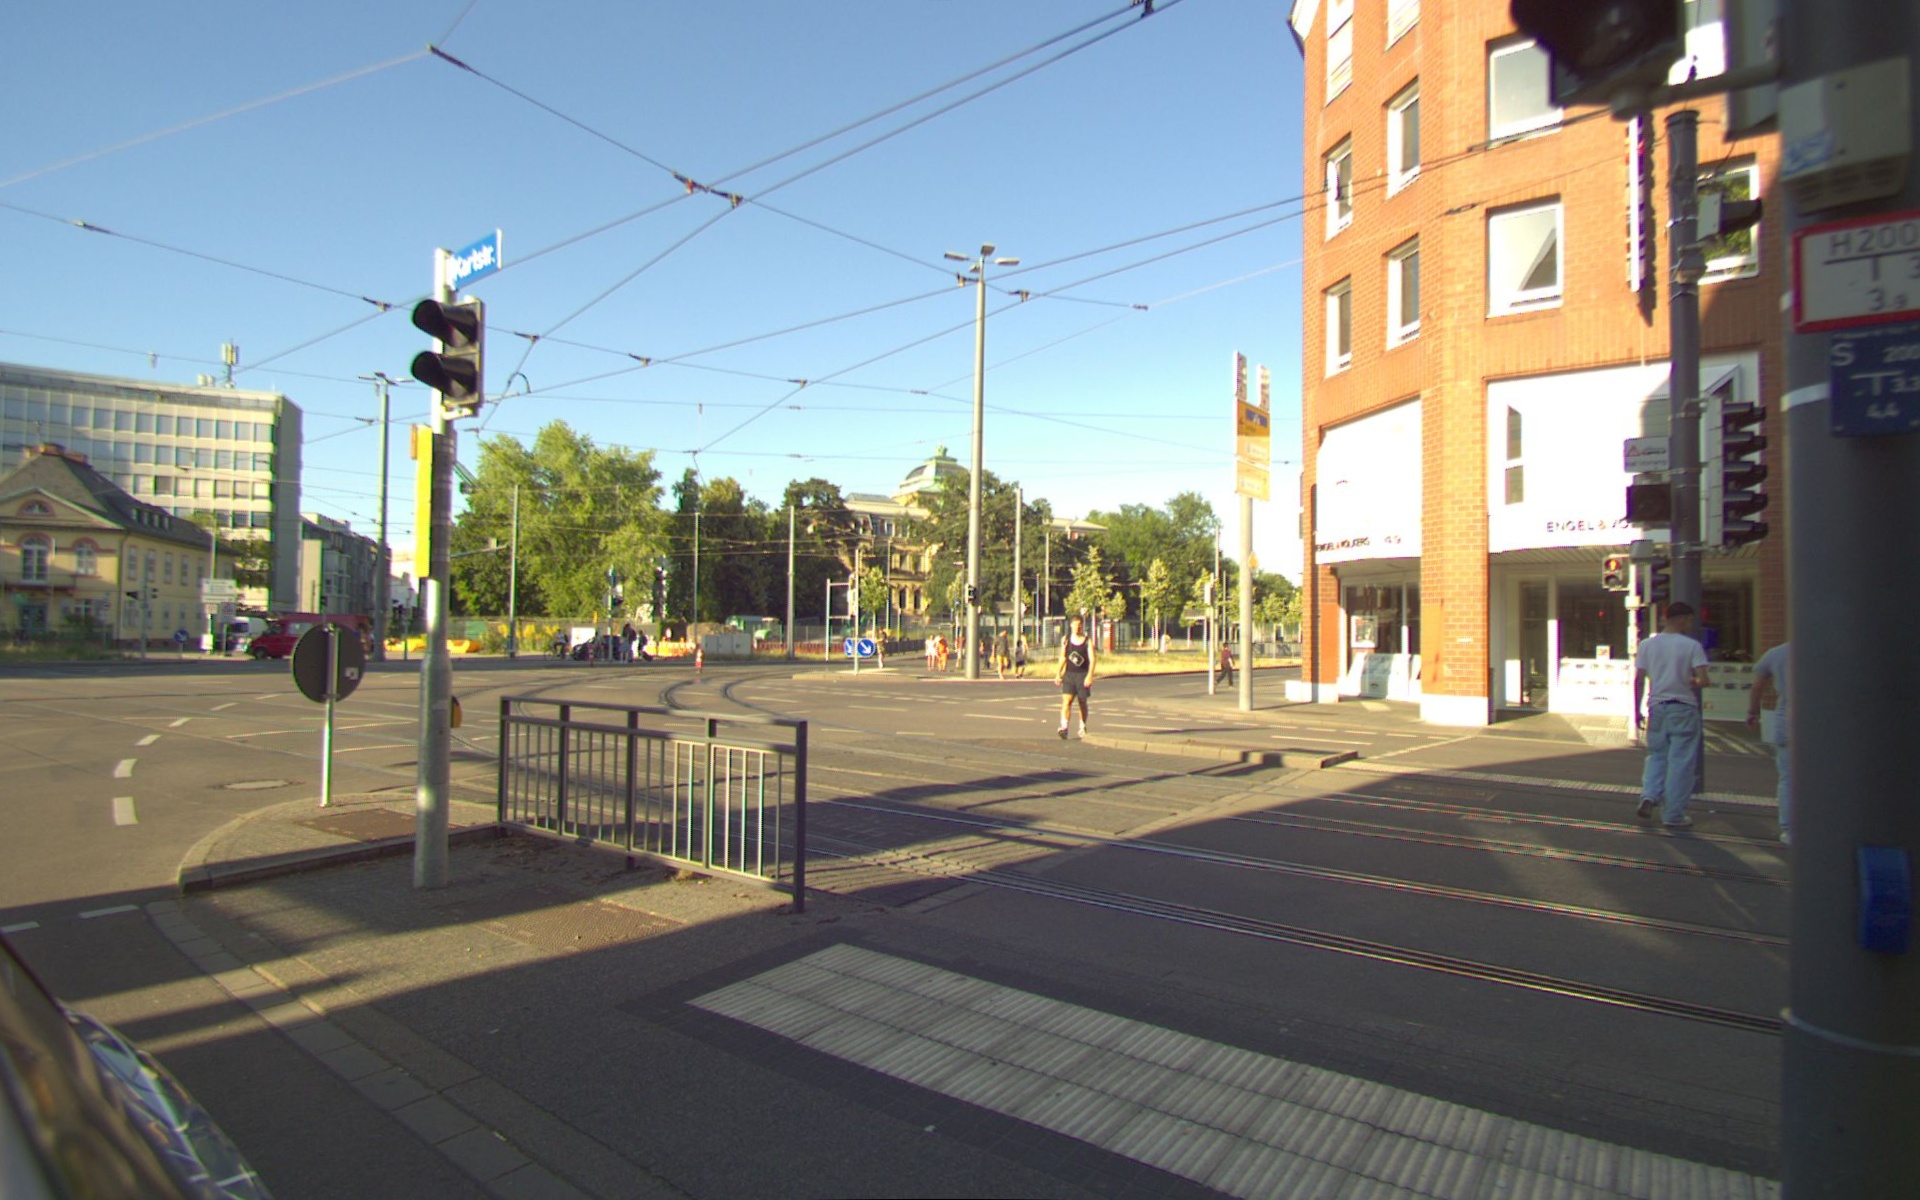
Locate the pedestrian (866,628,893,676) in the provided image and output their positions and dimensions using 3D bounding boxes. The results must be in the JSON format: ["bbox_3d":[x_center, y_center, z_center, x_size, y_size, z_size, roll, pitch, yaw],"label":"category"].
[{"bbox_3d":[-3.480,2.227,43.778,0.855,2.029,0.805,-1,0,22],"label":"pedestrian"}]

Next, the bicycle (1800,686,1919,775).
[{"bbox_3d":[13.105,1.816,14.129,2.049,1.129,0.568,-1,0,33],"label":"bicycle"}]

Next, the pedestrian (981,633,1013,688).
[{"bbox_3d":[1.269,2.052,34.578,0.846,1.780,0.814,-1,0,-17],"label":"pedestrian"}]

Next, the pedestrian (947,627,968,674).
[{"bbox_3d":[-0.114,2.255,45.286,0.848,2.029,0.812,-1,0,-4],"label":"pedestrian"}]

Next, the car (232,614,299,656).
[{"bbox_3d":[-55.506,2.797,81.050,2.500,3.071,6.393,3,-3,-17],"label":"car"}]

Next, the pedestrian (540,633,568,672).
[{"bbox_3d":[-22.180,2.847,55.316,0.988,2.029,1.060,-1,0,40],"label":"pedestrian"}]

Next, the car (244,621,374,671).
[{"bbox_3d":[-34.695,2.426,54.125,5.332,2.474,2.550,0,-2,-12],"label":"car"}]

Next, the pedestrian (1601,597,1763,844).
[{"bbox_3d":[5.642,0.874,7.914,0.799,1.780,0.862,-1,0,-42],"label":"pedestrian"}]

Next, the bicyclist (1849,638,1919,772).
[{"bbox_3d":[13.071,1.441,14.163,0.809,1.780,0.730,-1,0,33],"label":"bicyclist"}]

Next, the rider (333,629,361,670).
[{"bbox_3d":[-30.870,2.471,50.966,0.996,2.029,1.023,-1,0,-20],"label":"rider"}]

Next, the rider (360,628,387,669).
[{"bbox_3d":[-29.766,2.456,51.349,0.996,2.029,0.992,-1,0,-20],"label":"rider"}]

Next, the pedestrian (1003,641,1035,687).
[{"bbox_3d":[2.041,2.218,35.036,0.846,1.522,0.814,-1,0,-17],"label":"pedestrian"}]

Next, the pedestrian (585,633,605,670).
[{"bbox_3d":[-20.602,2.893,57.094,0.996,2.029,0.992,-1,0,-20],"label":"pedestrian"}]

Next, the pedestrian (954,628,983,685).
[{"bbox_3d":[0.306,2.047,37.042,0.846,2.029,0.814,-1,0,-17],"label":"pedestrian"}]

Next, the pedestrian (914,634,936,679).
[{"bbox_3d":[-1.417,2.288,41.002,0.848,1.784,0.709,-1,0,-4],"label":"pedestrian"}]

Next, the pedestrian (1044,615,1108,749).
[{"bbox_3d":[1.634,1.124,14.247,0.850,1.817,0.809,-1,0,7],"label":"pedestrian"}]

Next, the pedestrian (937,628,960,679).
[{"bbox_3d":[-0.471,2.154,41.085,0.848,2.029,0.812,-1,0,-4],"label":"pedestrian"}]

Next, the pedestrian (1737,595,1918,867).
[{"bbox_3d":[6.194,0.863,7.233,0.799,1.780,0.862,-1,0,-42],"label":"pedestrian"}]
